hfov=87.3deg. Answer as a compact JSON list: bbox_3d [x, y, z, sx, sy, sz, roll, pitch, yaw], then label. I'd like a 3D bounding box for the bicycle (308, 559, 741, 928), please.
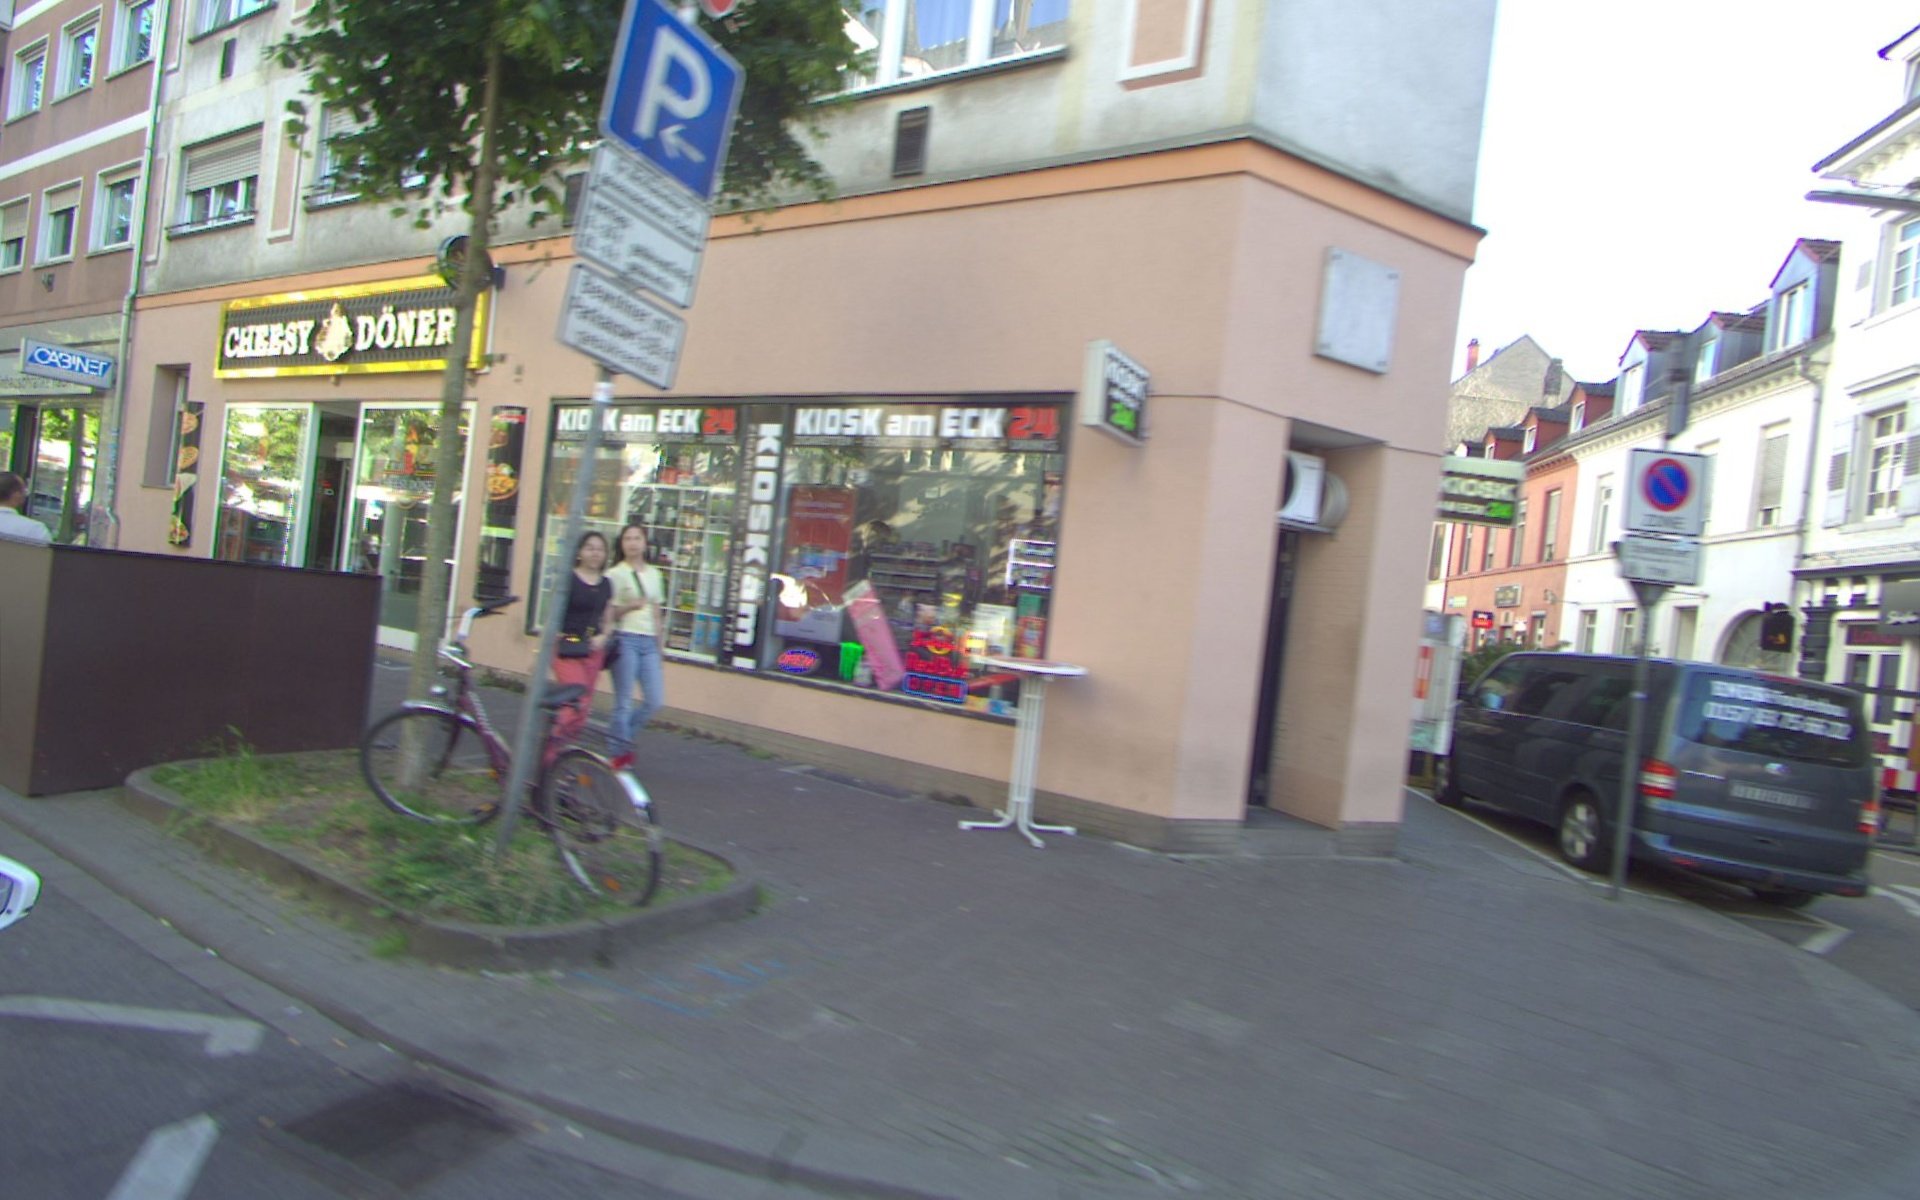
[{"bbox_3d":[-1.979,0.517,4.403,2.109,1.178,0.508,7,1,31],"label":"bicycle"}]

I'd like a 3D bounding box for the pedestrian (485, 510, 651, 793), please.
[{"bbox_3d":[-2.503,0.308,6.423,0.736,1.666,0.514,7,2,31],"label":"pedestrian"}]

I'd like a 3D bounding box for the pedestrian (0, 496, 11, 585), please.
[{"bbox_3d":[-8.480,-0.230,8.410,0.584,1.395,0.553,7,-1,32],"label":"pedestrian"}]

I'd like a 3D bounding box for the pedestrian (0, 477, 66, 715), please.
[{"bbox_3d":[-6.411,-0.039,6.678,0.454,1.547,0.473,7,-1,32],"label":"pedestrian"}]

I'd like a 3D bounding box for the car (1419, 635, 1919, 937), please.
[{"bbox_3d":[6.426,1.471,9.819,1.905,1.940,4.496,8,0,5],"label":"car"}]

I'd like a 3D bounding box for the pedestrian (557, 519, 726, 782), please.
[{"bbox_3d":[-2.193,0.329,6.940,0.736,1.666,0.642,7,2,31],"label":"pedestrian"}]
